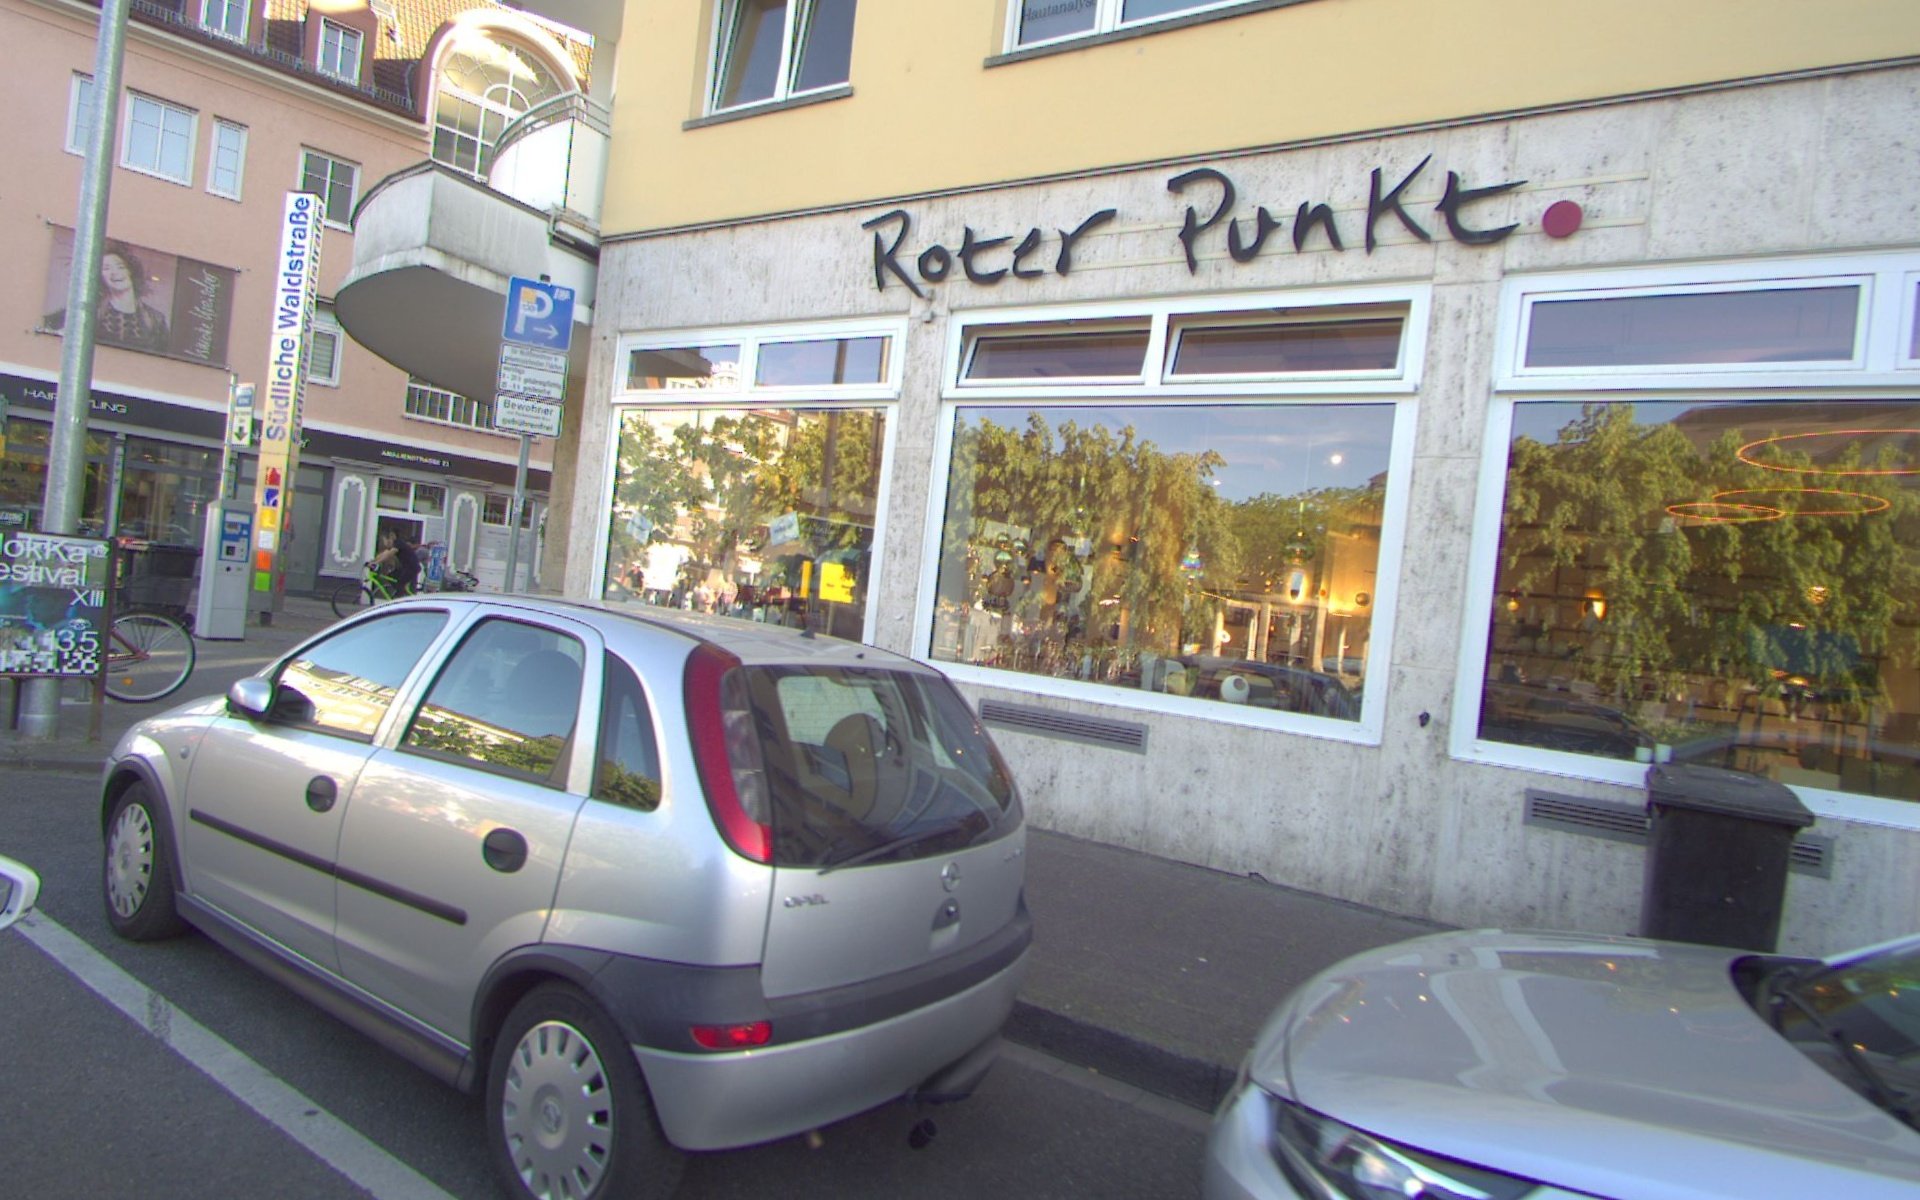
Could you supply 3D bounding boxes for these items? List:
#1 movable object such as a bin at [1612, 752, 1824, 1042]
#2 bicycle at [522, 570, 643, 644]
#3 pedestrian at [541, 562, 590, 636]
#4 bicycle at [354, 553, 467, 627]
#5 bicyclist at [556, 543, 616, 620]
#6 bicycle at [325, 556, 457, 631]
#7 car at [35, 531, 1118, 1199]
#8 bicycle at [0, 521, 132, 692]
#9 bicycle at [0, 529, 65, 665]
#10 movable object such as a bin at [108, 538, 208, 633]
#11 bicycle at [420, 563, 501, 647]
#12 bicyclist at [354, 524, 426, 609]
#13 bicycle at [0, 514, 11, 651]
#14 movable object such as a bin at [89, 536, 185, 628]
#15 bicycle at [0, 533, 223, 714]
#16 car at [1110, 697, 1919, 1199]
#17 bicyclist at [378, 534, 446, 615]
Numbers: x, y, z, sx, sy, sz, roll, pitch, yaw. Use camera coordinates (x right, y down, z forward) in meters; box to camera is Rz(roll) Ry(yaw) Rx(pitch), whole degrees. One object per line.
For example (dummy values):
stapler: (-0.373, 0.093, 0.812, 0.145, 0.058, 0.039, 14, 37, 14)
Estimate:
movable object such as a bin: (3.387, 1.274, 4.565, 0.592, 1.041, 0.811, 6, -1, 31)
bicycle: (-7.669, 0.154, 20.480, 2.153, 1.237, 0.676, 7, -1, -27)
pedestrian: (-8.947, -0.018, 22.815, 0.742, 1.571, 0.692, 7, 0, -35)
bicycle: (-10.901, -0.190, 19.994, 1.786, 1.237, 0.673, 7, -1, -40)
bicyclist: (-7.612, -0.368, 20.463, 0.915, 1.431, 0.800, 7, 0, -28)
bicycle: (-10.514, -0.113, 18.629, 1.959, 1.163, 0.782, 7, 0, -40)
car: (-1.492, 0.681, 3.542, 3.583, 1.397, 1.616, 6, -2, 32)
bicycle: (-7.605, 0.019, 7.735, 0.778, 1.284, 1.721, 6, 1, 37)
bicycle: (-8.764, -0.083, 8.380, 0.770, 1.138, 1.797, 6, 1, 37)
movable object such as a bin: (-10.405, -0.181, 13.059, 0.617, 1.105, 0.754, 6, -2, 33)
bicycle: (-8.395, 0.054, 16.864, 0.656, 1.213, 2.188, 7, -1, -39)
bicyclist: (-10.525, -0.624, 18.567, 0.919, 1.431, 0.797, 7, 0, -39)
bicycle: (-9.766, -0.240, 8.946, 0.768, 1.283, 1.746, 6, 1, 34)
movable object such as a bin: (-10.941, -0.235, 13.379, 0.617, 1.105, 0.734, 6, -2, 33)
bicycle: (-6.599, 0.164, 7.262, 0.681, 1.208, 1.885, 7, 1, 37)
car: (2.214, 1.100, 1.414, 3.642, 1.415, 1.653, 6, -1, 29)
bicyclist: (-10.893, -0.512, 19.991, 0.942, 1.467, 0.797, 7, 0, -39)
